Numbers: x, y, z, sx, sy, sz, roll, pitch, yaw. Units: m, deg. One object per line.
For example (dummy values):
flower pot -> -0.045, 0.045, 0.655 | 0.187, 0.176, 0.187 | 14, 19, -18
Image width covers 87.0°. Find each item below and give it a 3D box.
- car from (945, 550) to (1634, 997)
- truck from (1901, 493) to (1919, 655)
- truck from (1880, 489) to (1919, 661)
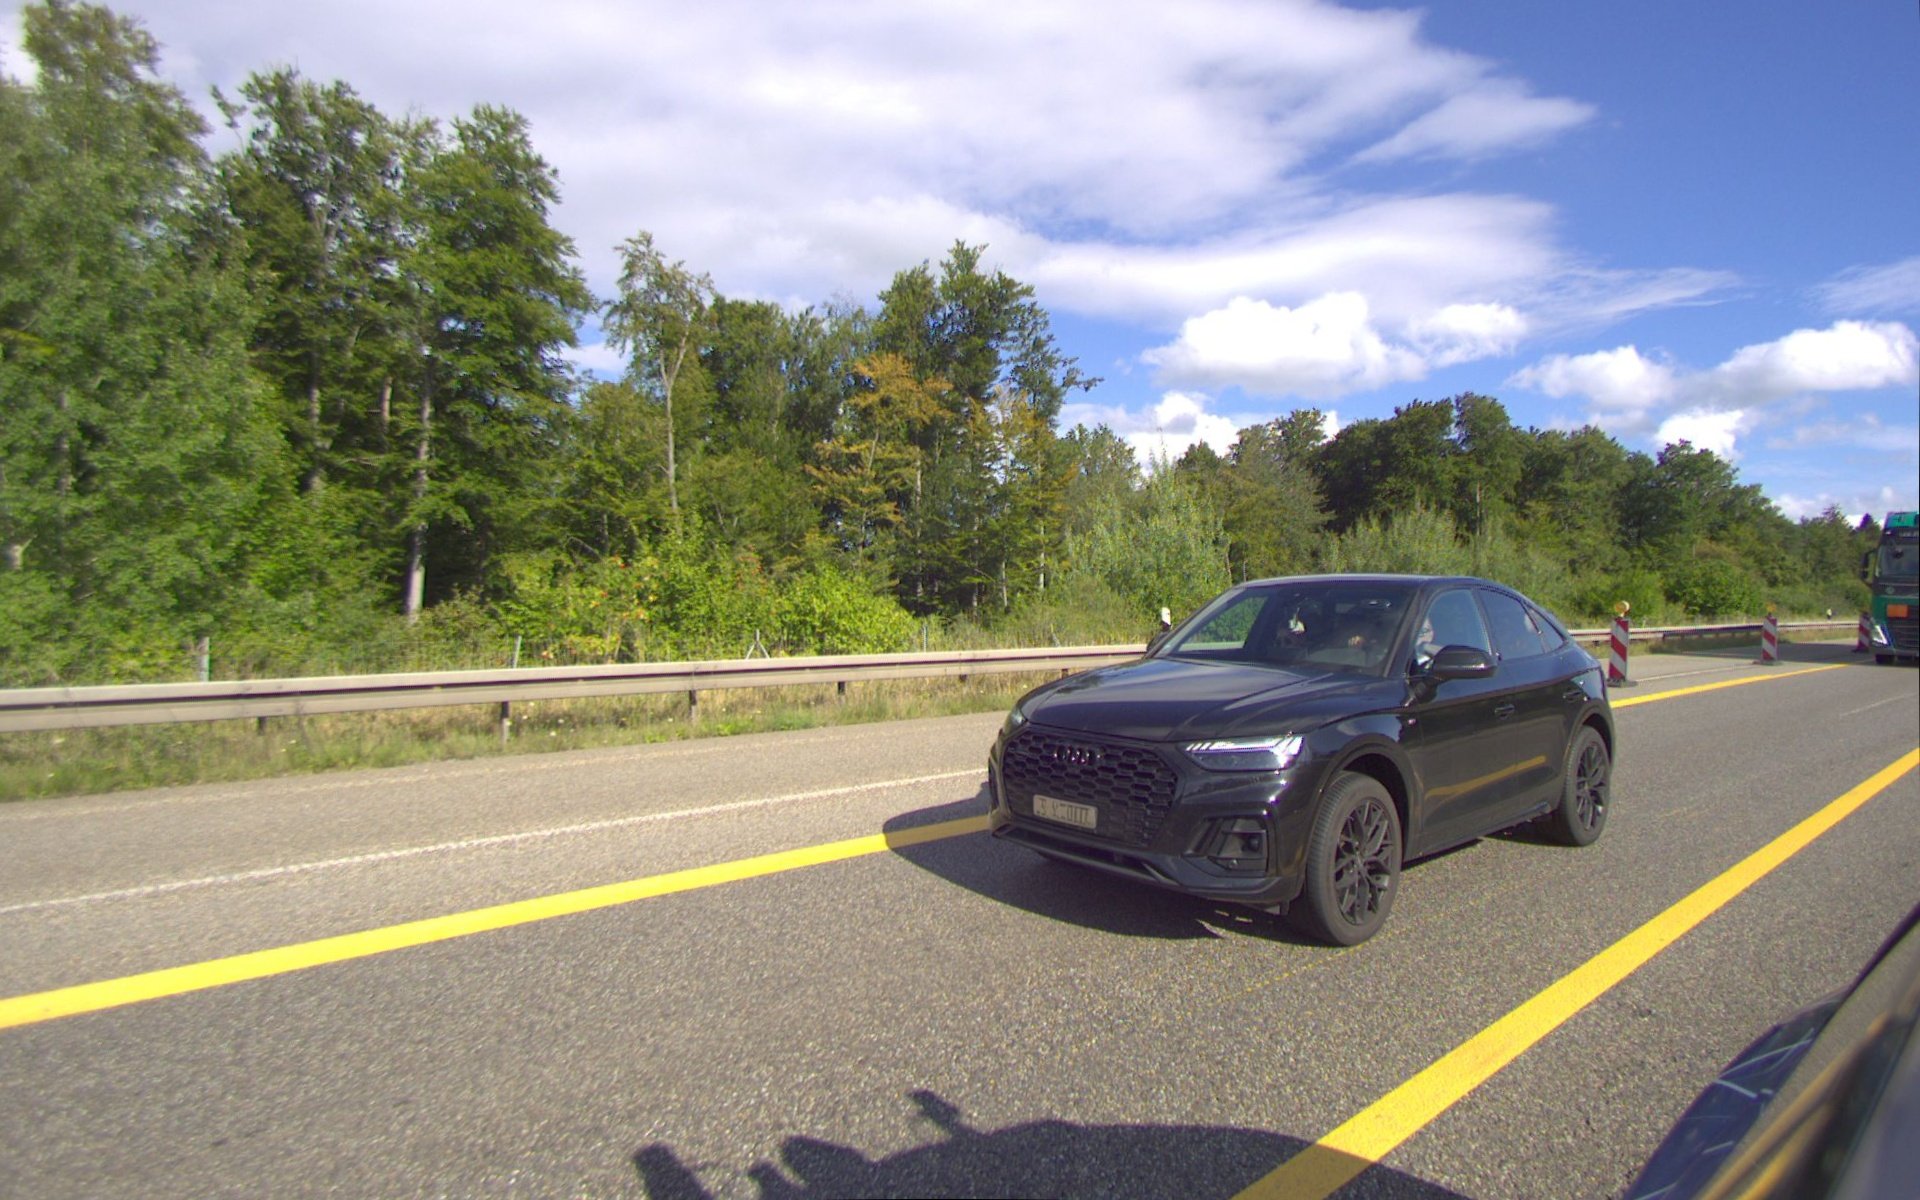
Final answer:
car -> 2.097, 0.614, 5.734 | 4.218, 1.623, 1.781 | 0, 0, -40
truck -> 30.758, -0.606, 29.930 | 13.954, 4.196, 2.469 | 1, -1, -39
truck -> 26.095, -0.631, 26.115 | 6.734, 4.151, 2.527 | 0, 0, -39
